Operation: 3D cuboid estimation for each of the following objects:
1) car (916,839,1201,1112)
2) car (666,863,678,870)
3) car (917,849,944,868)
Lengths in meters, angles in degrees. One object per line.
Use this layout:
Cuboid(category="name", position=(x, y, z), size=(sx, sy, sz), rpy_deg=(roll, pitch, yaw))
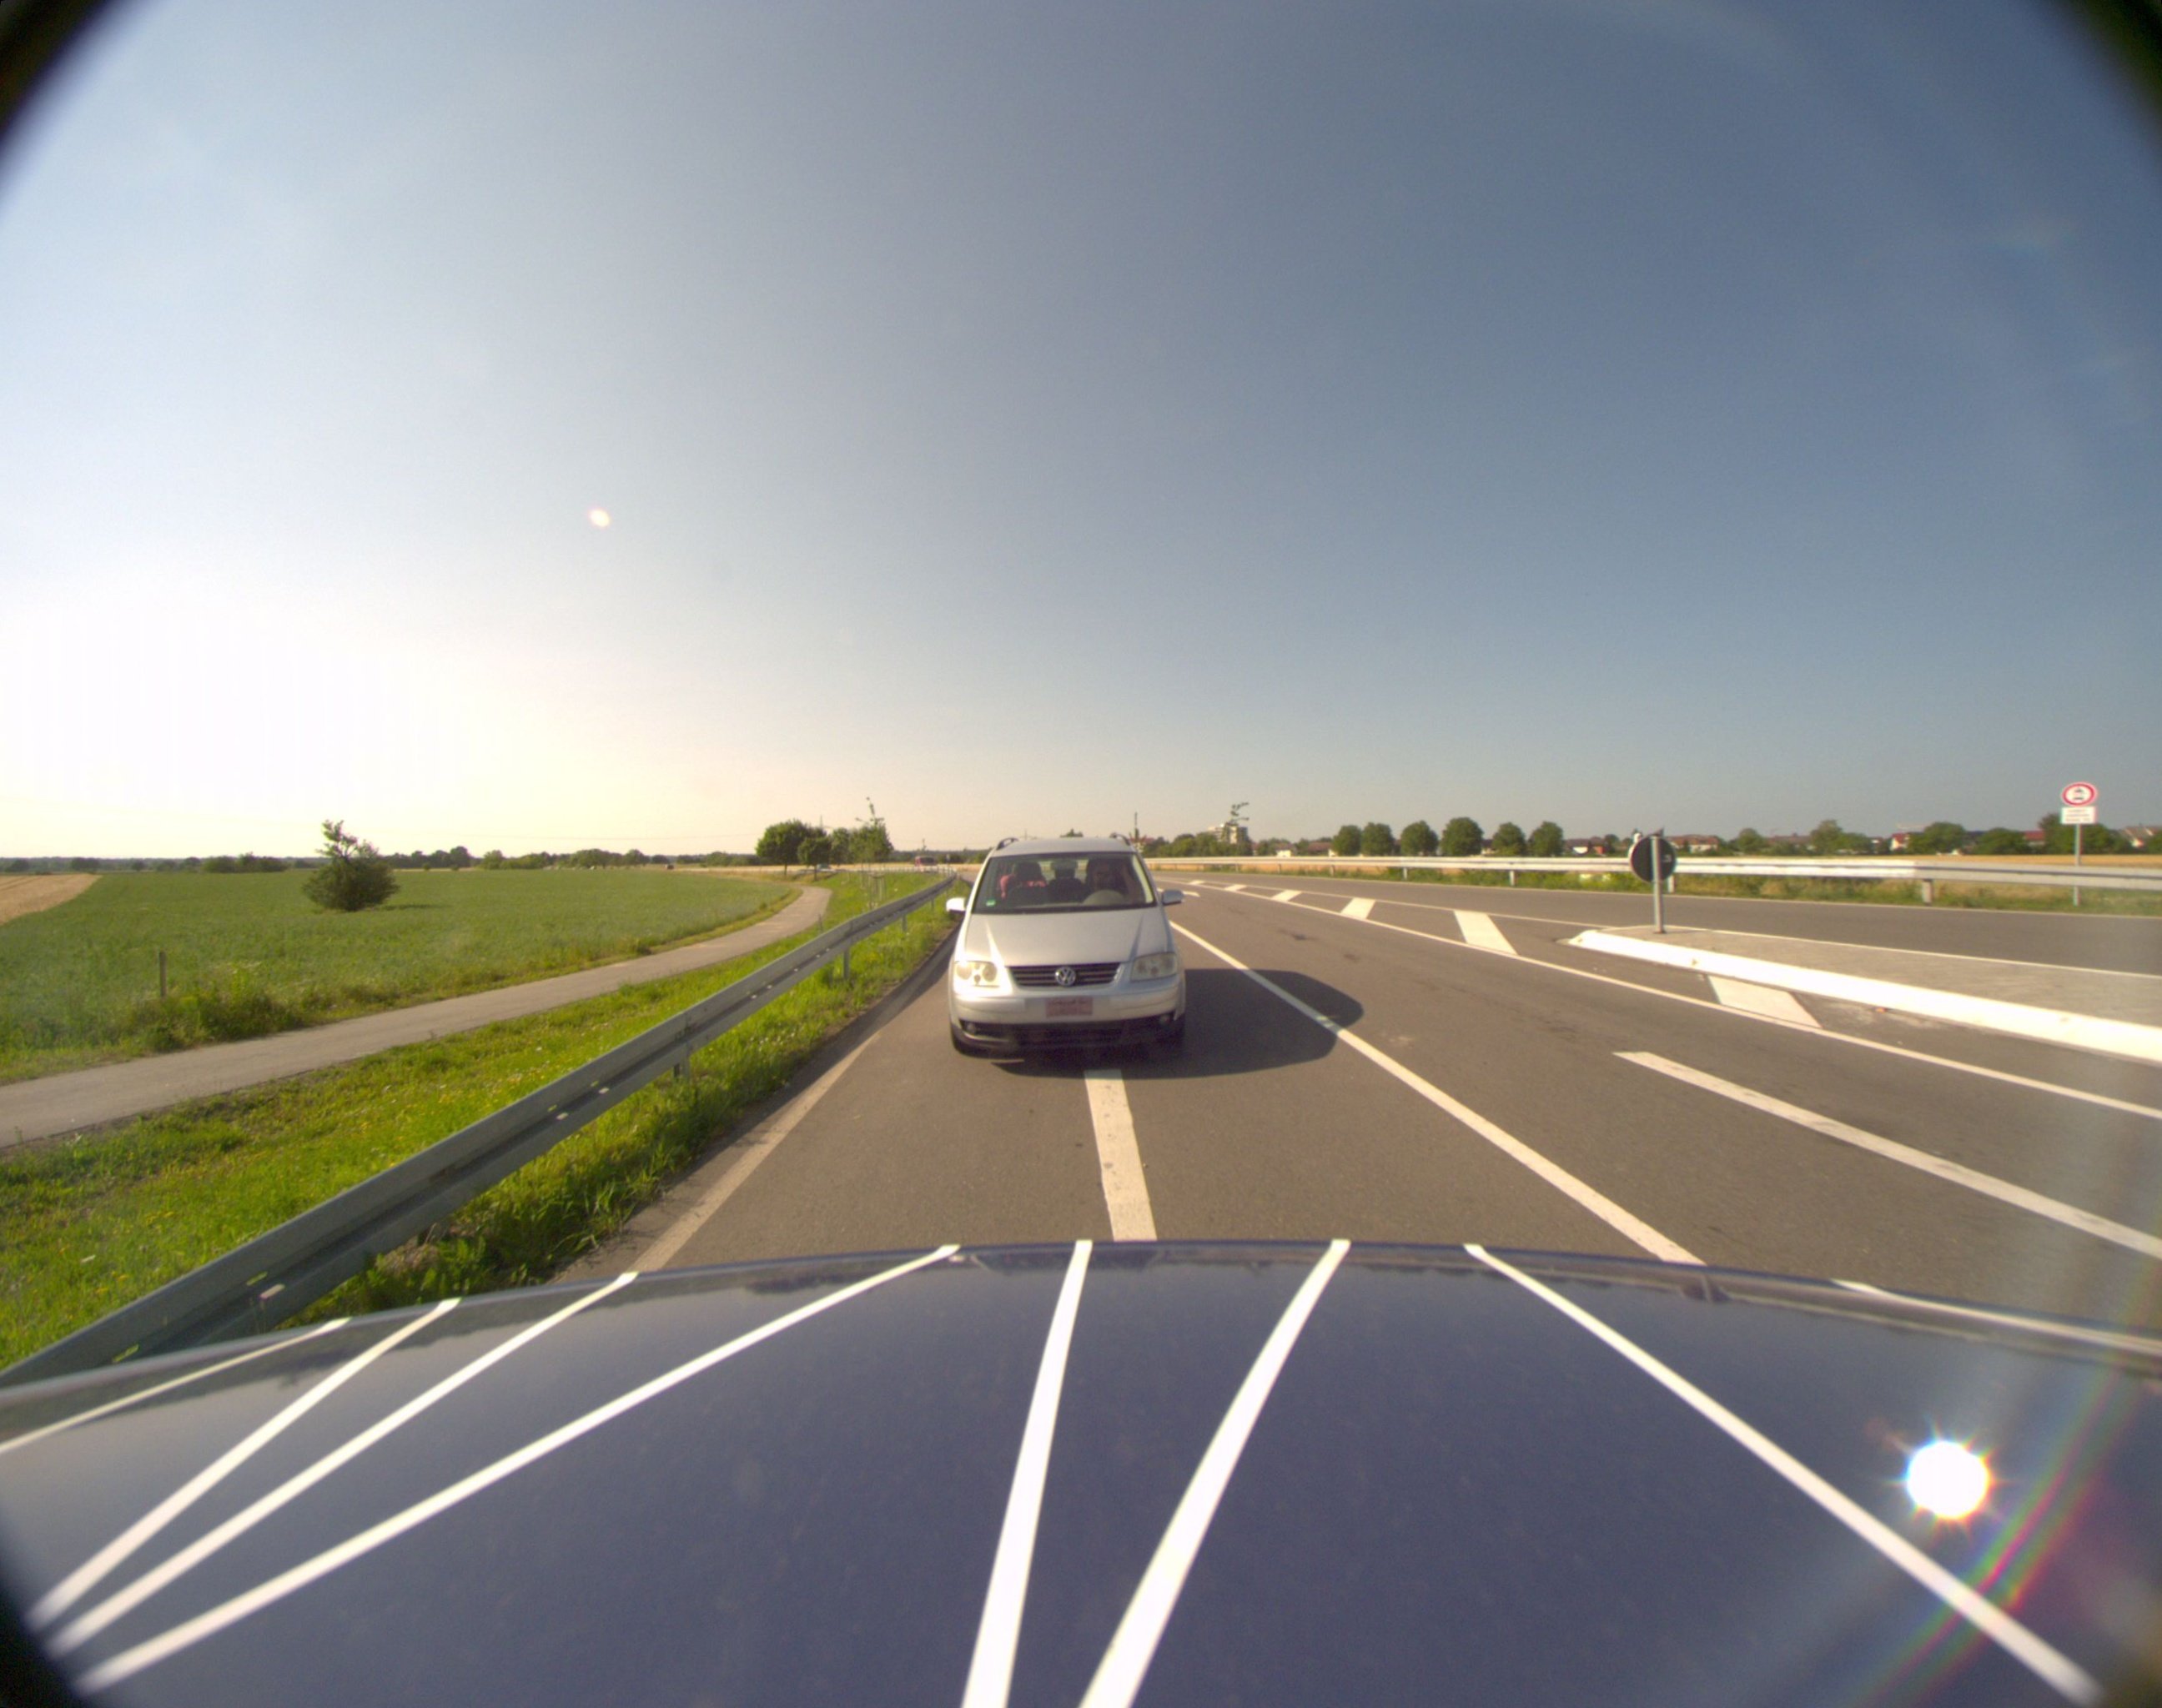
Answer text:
Cuboid(category="car", position=(-0.104, 0.743, 6.947), size=(1.755, 1.685, 4.214), rpy_deg=(-2, 1, 1))
Cuboid(category="car", position=(-118.048, 3.593, 219.219), size=(3.989, 1.663, 1.818), rpy_deg=(-1, 2, 41))
Cuboid(category="car", position=(-14.938, 0.431, 75.212), size=(1.695, 1.826, 4.689), rpy_deg=(-1, 0, -23))
